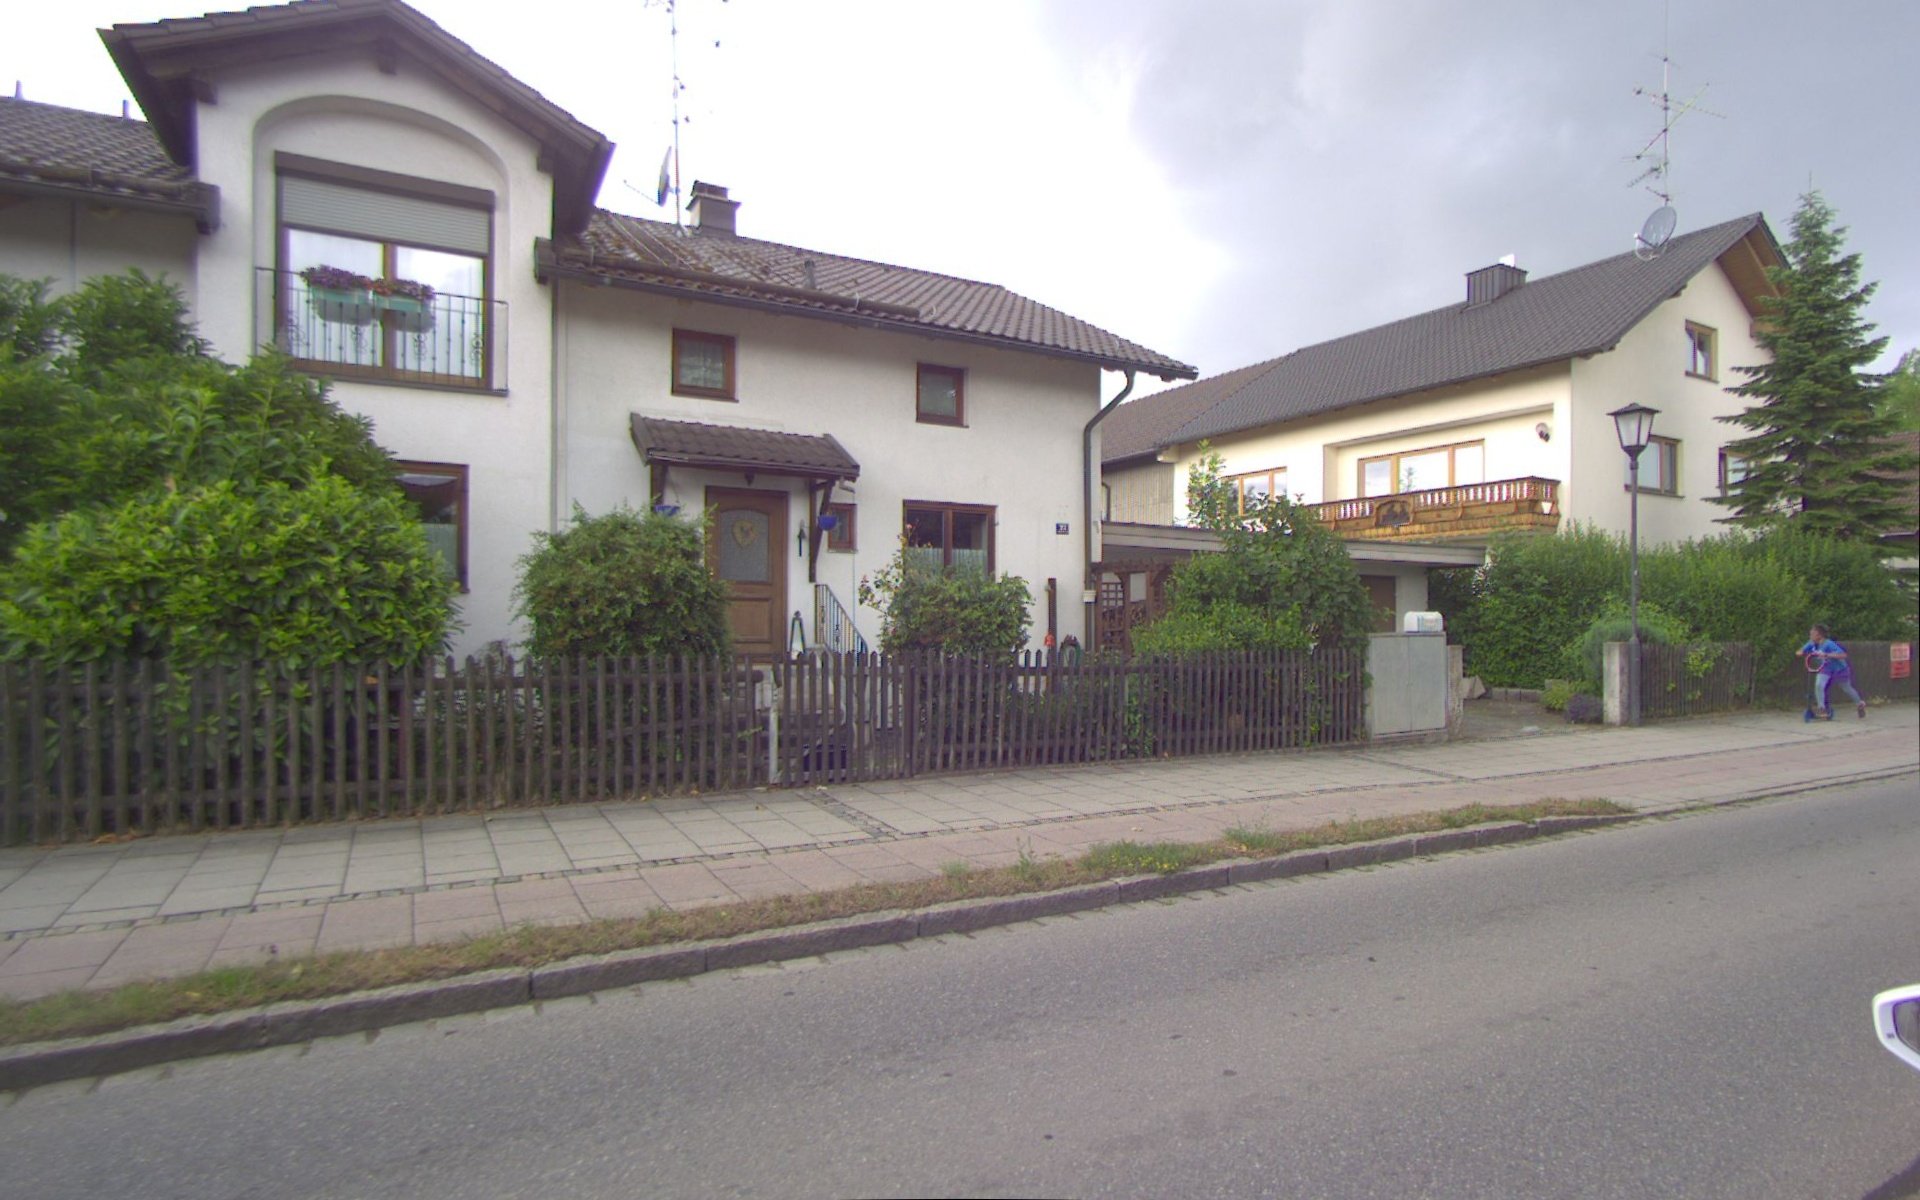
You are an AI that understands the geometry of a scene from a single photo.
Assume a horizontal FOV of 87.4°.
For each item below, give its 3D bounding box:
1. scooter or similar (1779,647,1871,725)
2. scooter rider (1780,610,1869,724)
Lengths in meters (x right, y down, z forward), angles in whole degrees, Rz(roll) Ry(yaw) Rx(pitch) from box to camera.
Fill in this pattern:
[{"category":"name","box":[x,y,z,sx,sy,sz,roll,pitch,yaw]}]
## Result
[{"category":"scooter or similar","box":[12.407,1.206,14.407,1.164,1.051,0.658,1,-1,-30]},{"category":"scooter rider","box":[12.384,0.935,14.396,0.791,1.545,0.690,1,2,-30]}]
